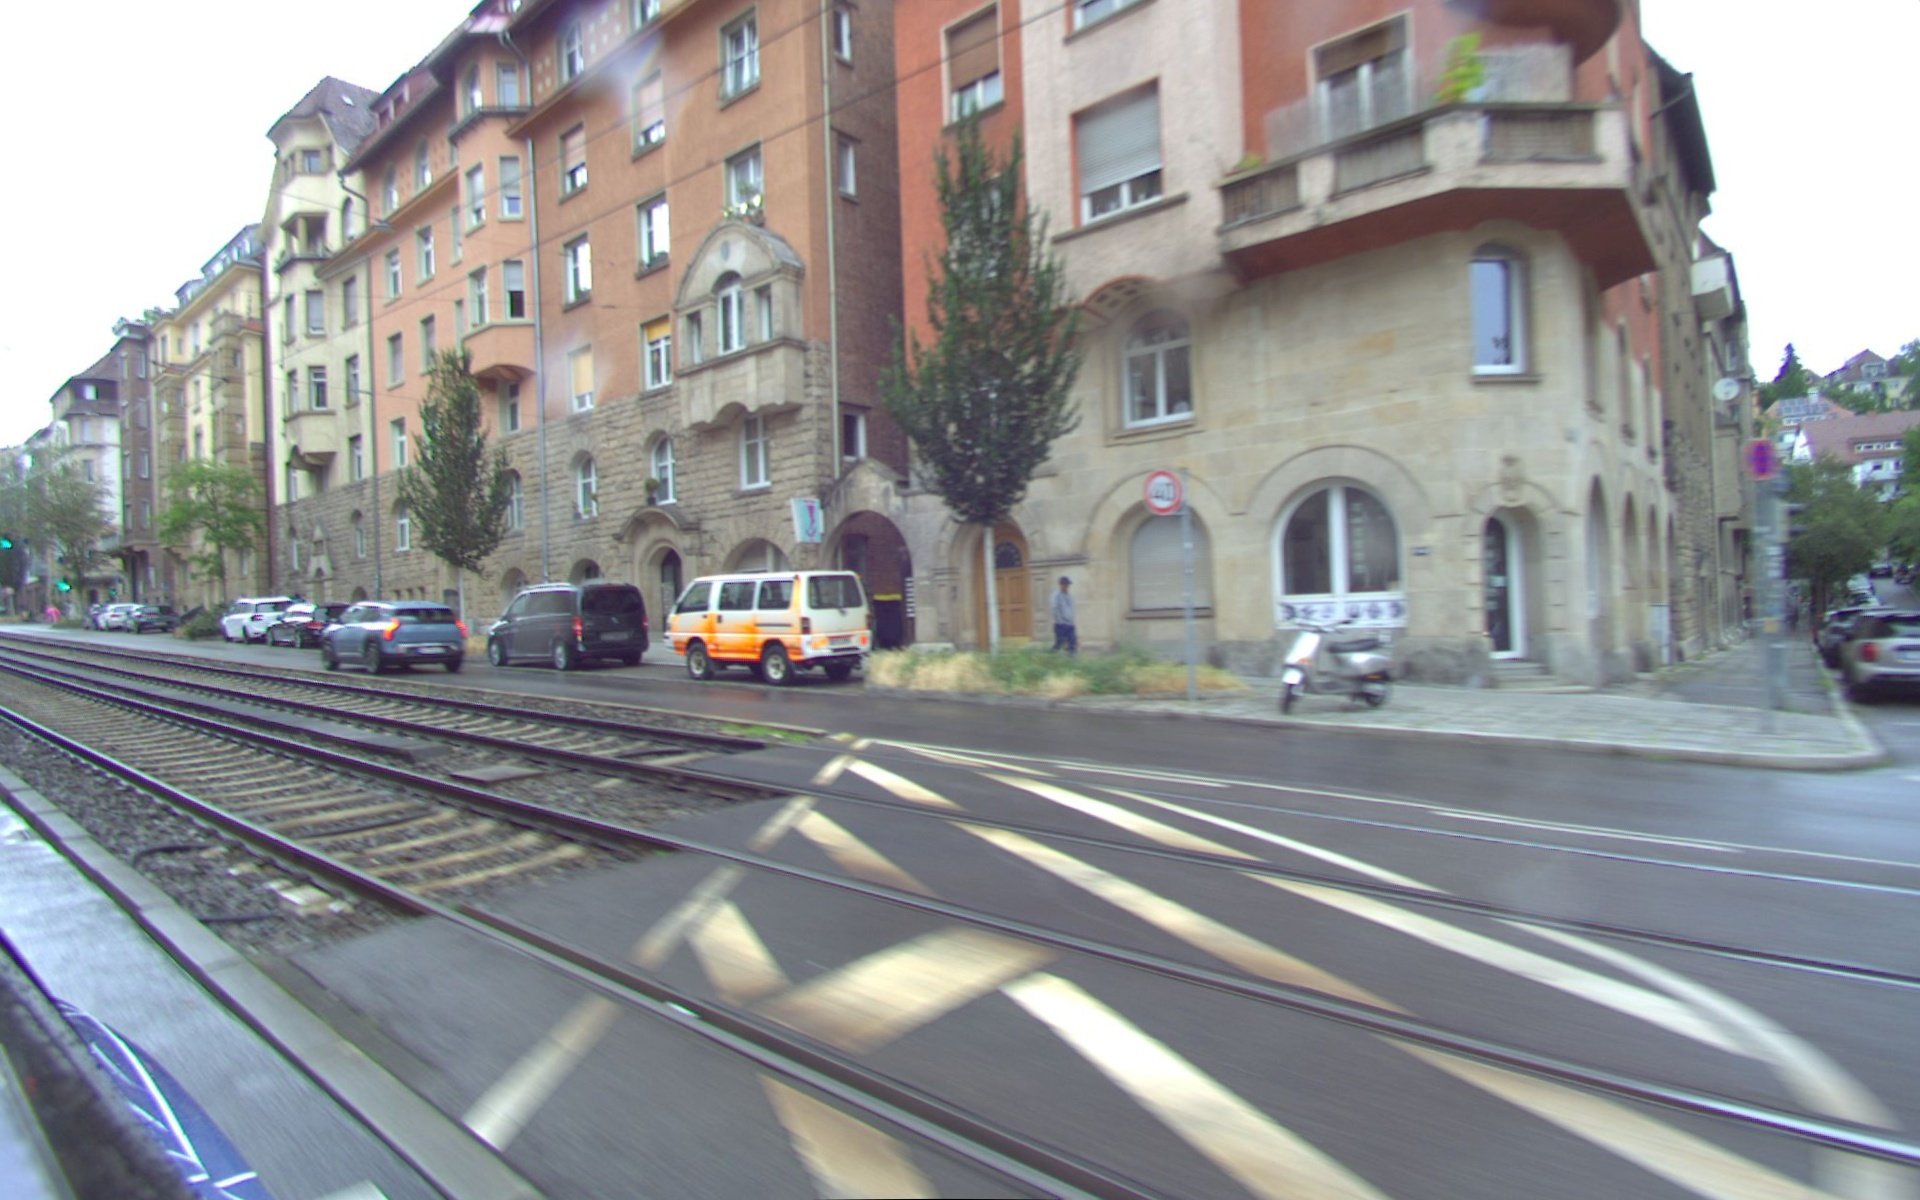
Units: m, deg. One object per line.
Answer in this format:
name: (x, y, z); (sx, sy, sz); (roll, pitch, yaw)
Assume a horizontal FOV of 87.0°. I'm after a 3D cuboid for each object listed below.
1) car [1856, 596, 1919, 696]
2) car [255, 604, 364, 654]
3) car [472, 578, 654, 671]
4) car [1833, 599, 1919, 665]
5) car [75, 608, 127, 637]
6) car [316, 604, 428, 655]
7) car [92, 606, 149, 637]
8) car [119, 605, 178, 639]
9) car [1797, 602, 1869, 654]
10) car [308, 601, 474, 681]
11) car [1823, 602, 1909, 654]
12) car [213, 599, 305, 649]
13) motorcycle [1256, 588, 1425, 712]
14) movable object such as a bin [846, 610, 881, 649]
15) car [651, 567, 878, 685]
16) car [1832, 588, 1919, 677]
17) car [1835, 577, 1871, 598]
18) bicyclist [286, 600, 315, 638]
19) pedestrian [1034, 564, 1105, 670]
car: (15.640, 0.682, 16.278); (1.746, 1.478, 3.946); (0, 0, 41)
car: (-22.255, 0.943, 34.573); (4.593, 1.502, 1.738); (0, 2, 39)
car: (-9.322, 0.518, 23.572); (4.829, 1.945, 1.886); (0, 0, 40)
car: (23.804, 0.770, 26.067); (1.999, 1.586, 3.946); (0, 0, 41)
car: (-48.858, 1.245, 57.536); (3.712, 1.438, 1.737); (0, 3, 42)
car: (-18.373, 0.884, 31.573); (3.690, 1.414, 1.739); (0, 2, 38)
car: (-45.189, 1.124, 54.431); (4.043, 1.462, 1.737); (0, 3, 42)
car: (-40.566, 1.060, 50.567); (3.712, 1.493, 1.695); (0, 3, 42)
car: (34.622, 1.056, 40.184); (2.070, 1.921, 3.946); (0, 0, 41)
car: (-12.838, 0.843, 22.765); (4.125, 1.629, 1.902); (0, 0, 39)
car: (29.727, 0.881, 33.303); (1.999, 1.586, 3.946); (0, 0, 41)
car: (-26.545, 0.869, 38.270); (4.257, 1.684, 1.738); (0, 3, 40)
motorcycle: (4.483, 0.554, 11.942); (1.754, 1.385, 0.770); (0, 0, -18)
movable object such as a bin: (-2.281, 0.688, 23.941); (0.656, 0.905, 0.540); (0, 0, 44)
car: (-3.721, 0.431, 18.824); (4.472, 1.945, 1.711); (0, 0, 40)
car: (18.509, 0.584, 19.712); (1.997, 1.586, 3.950); (0, 0, 37)
car: (71.867, -0.978, 81.489); (1.998, 1.586, 3.948); (0, 0, 38)
bicyclist: (-28.628, 0.800, 43.912); (0.774, 1.613, 0.883); (0, 0, 41)
pedestrian: (1.907, 0.282, 17.559); (0.892, 1.732, 0.710); (0, 5, 41)
